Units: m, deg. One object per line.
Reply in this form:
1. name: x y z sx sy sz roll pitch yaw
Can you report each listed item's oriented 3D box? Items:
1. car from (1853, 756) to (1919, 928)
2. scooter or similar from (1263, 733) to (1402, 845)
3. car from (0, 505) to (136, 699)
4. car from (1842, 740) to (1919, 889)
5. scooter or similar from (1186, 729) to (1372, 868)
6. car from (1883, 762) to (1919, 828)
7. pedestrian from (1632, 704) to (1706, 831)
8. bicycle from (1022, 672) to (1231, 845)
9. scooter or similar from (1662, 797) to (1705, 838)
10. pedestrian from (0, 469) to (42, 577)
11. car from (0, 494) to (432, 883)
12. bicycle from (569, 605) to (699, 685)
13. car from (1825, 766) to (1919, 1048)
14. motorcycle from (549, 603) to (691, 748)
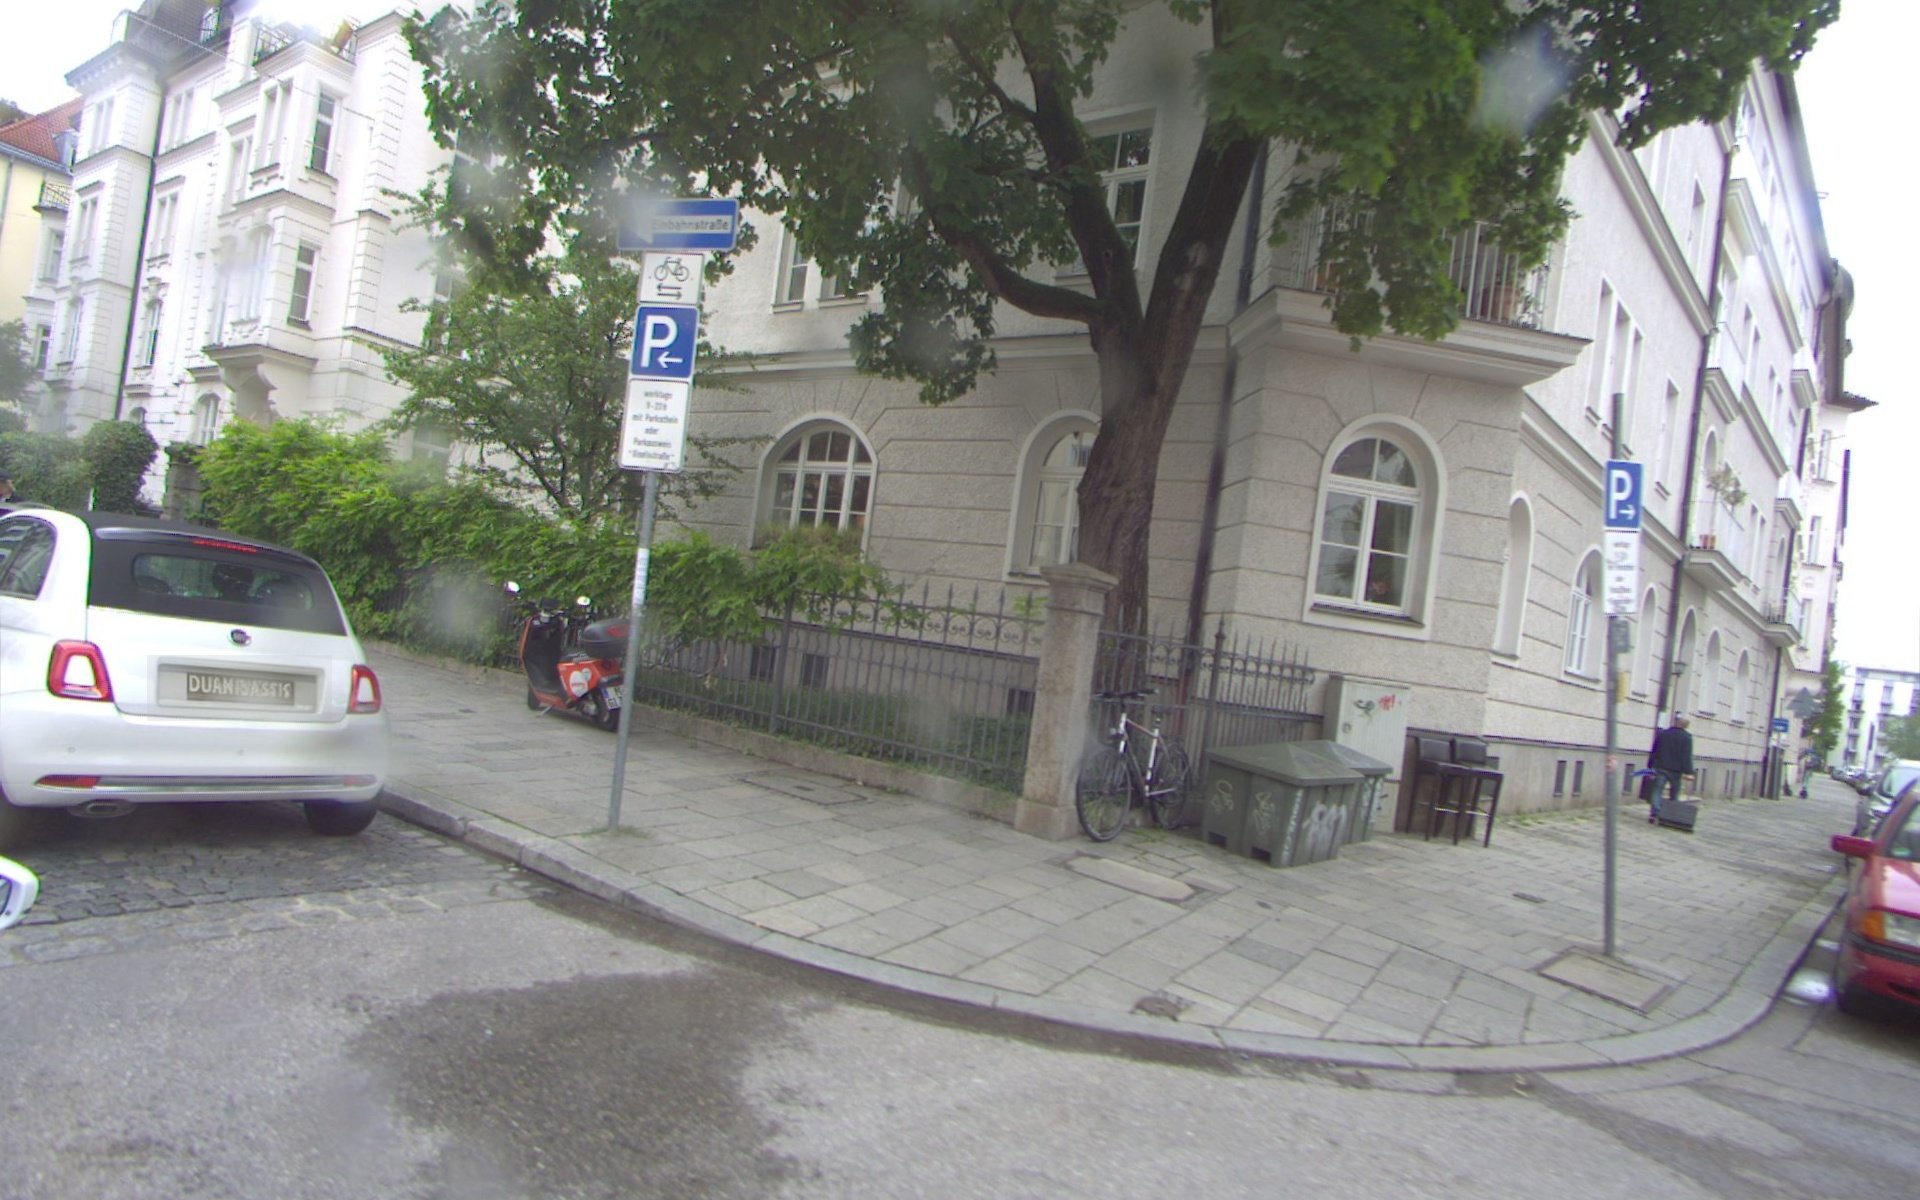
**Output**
1. car: 10.599 2.544 10.520 1.543 1.539 3.886 7 -2 39
2. scooter or similar: 3.408 1.700 9.163 0.687 0.835 1.236 6 -2 43
3. car: -9.352 -0.238 8.959 4.557 1.436 1.653 7 -5 33
4. car: 13.559 2.986 13.942 1.729 1.731 4.322 7 -2 43
5. scooter or similar: 2.551 1.548 8.020 0.912 0.858 1.181 6 -2 43
6. car: 28.164 5.745 29.234 1.808 1.690 4.040 6 -3 43
7. pedestrian: 11.422 2.677 16.222 0.730 1.897 0.495 7 -1 29
8. bicycle: 1.349 1.225 7.875 0.555 1.137 1.835 8 -1 44
9. scooter or similar: 11.142 3.352 15.501 0.451 0.507 0.382 7 -1 29
10. pedestrian: -16.938 -1.380 17.768 0.647 1.829 0.631 7 -1 11
11. car: -4.701 0.254 5.562 3.736 1.488 1.503 7 -1 35
12. bicycle: -4.602 0.611 14.094 2.240 0.821 0.491 6 -2 39
13. car: 6.988 1.986 6.688 1.736 1.374 4.463 7 -2 41
14. motorcycle: -3.078 0.659 9.048 1.382 1.103 0.362 7 -1 37
